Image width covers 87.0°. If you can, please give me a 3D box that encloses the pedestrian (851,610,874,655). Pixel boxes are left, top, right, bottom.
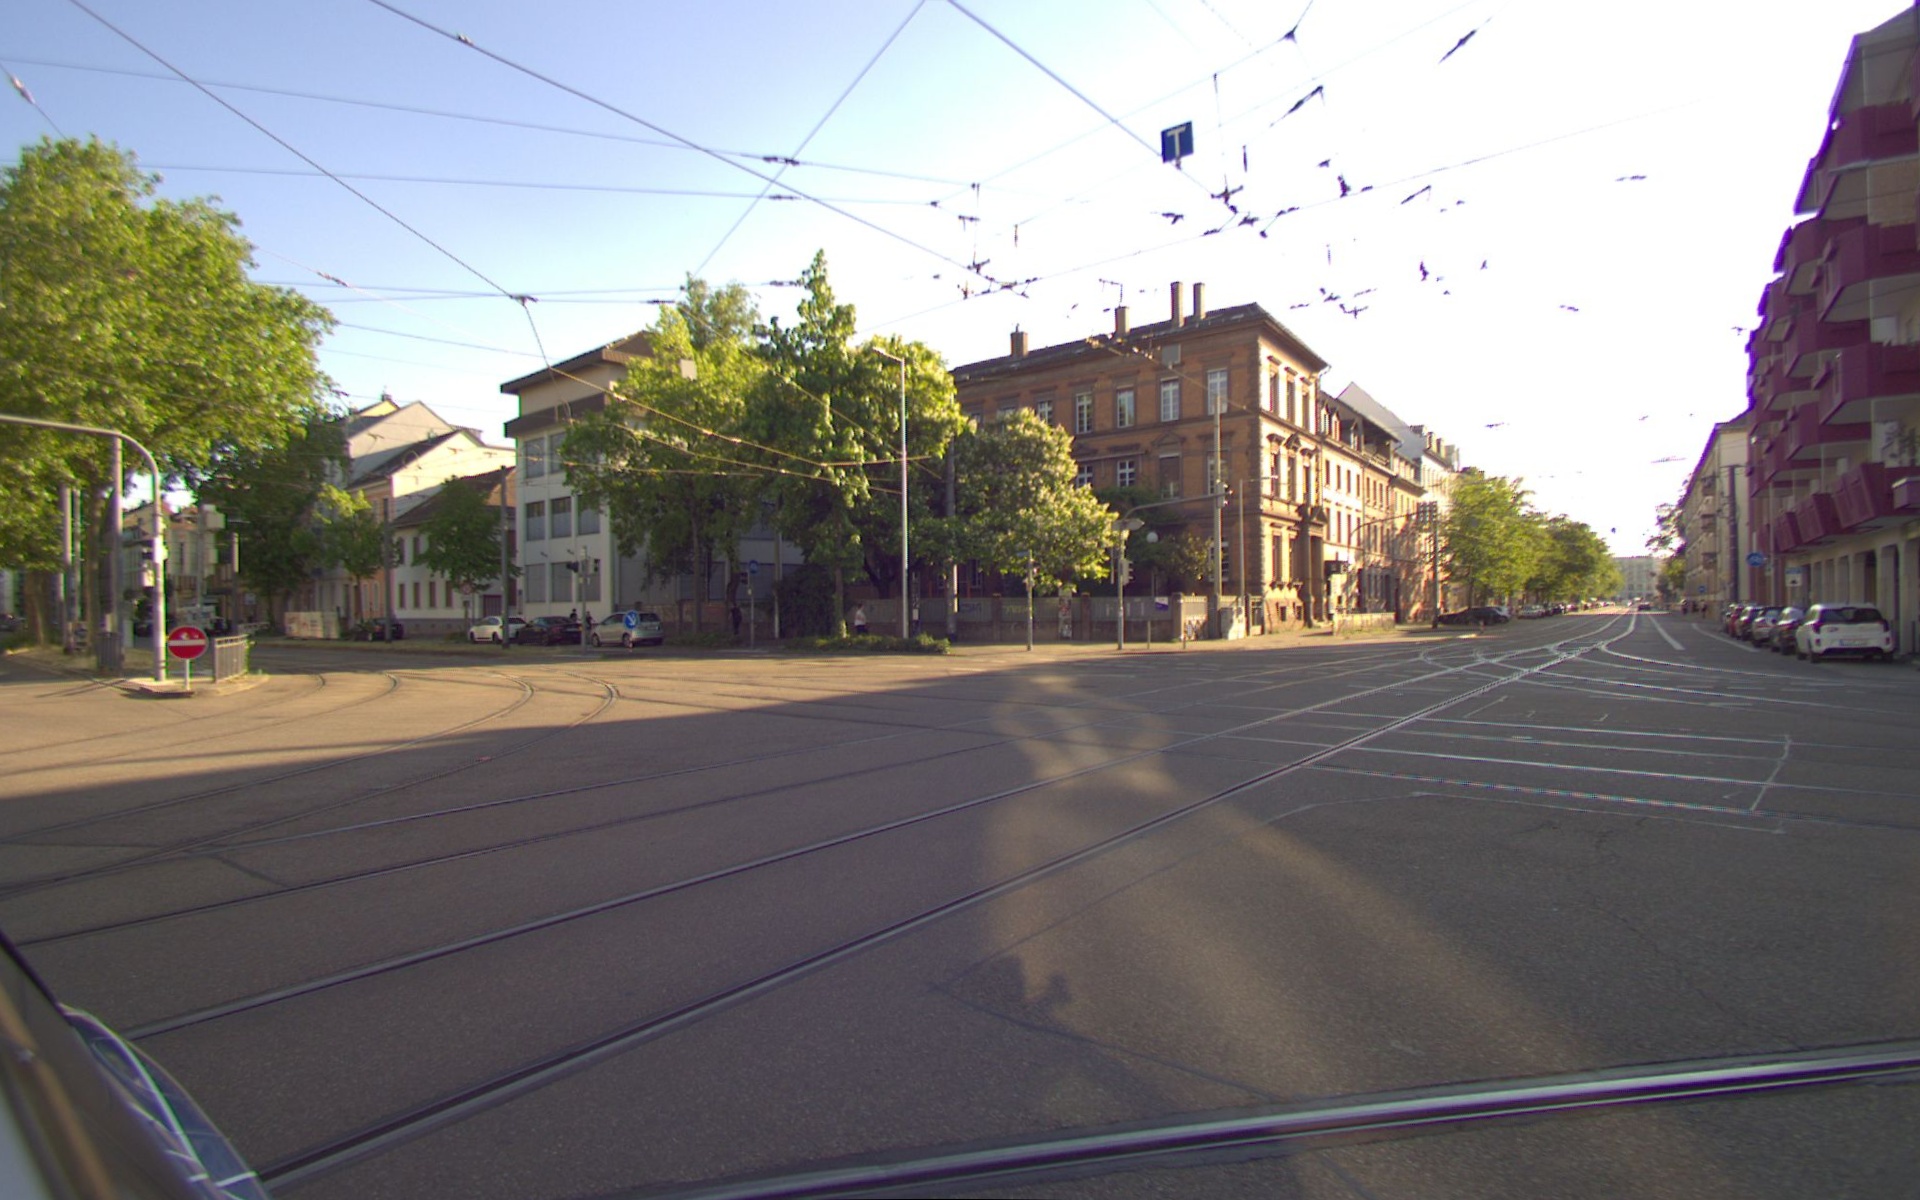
[{"bbox_3d":[-3.736,1.236,38.782,0.631,1.677,0.562,-1,1,40],"label":"pedestrian"}]

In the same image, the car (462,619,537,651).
[{"bbox_3d":[-24.388,1.840,53.565,3.993,1.501,2.061,-1,2,40],"label":"car"}]

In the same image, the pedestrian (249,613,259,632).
[{"bbox_3d":[-66.676,2.138,95.572,0.703,1.823,0.555,-1,-1,35],"label":"pedestrian"}]

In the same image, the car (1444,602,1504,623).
[{"bbox_3d":[39.805,0.986,78.406,3.989,1.586,1.977,-1,-1,34],"label":"car"}]

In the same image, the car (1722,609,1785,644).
[{"bbox_3d":[37.346,1.214,47.735,1.995,1.567,4.531,-1,-1,34],"label":"car"}]

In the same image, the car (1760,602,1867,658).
[{"bbox_3d":[25.635,0.849,30.538,1.995,1.567,4.075,-1,-1,34],"label":"car"}]

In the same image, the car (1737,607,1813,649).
[{"bbox_3d":[32.955,1.095,41.043,1.995,1.567,4.531,-1,-1,34],"label":"car"}]

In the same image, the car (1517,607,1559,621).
[{"bbox_3d":[59.077,1.465,103.394,3.544,1.412,1.678,-1,-1,37],"label":"car"}]

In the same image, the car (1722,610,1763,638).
[{"bbox_3d":[40.074,1.227,51.890,1.457,1.343,3.145,-1,-1,35],"label":"car"}]

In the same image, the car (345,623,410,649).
[{"bbox_3d":[-37.212,2.272,64.588,4.575,1.481,2.061,-1,2,40],"label":"car"}]

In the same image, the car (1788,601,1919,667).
[{"bbox_3d":[22.795,0.819,25.983,1.995,1.567,3.953,-1,-1,34],"label":"car"}]

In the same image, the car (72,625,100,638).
[{"bbox_3d":[-113.984,4.138,131.957,4.252,1.551,2.061,-1,2,40],"label":"car"}]

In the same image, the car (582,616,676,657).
[{"bbox_3d":[-14.869,1.599,45.395,4.094,1.631,2.061,-1,2,40],"label":"car"}]

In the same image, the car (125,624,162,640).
[{"bbox_3d":[-85.911,3.387,106.479,4.512,1.551,2.061,-1,2,40],"label":"car"}]

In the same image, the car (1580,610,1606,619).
[{"bbox_3d":[104.664,2.457,167.362,3.544,1.412,1.679,-1,1,37],"label":"car"}]

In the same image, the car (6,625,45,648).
[{"bbox_3d":[-76.345,2.952,82.687,3.999,1.785,1.972,-1,1,42],"label":"car"}]

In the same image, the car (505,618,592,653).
[{"bbox_3d":[-20.196,1.696,49.592,4.453,1.513,2.061,-1,2,40],"label":"car"}]

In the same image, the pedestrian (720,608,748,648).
[{"bbox_3d":[-10.240,1.260,45.843,1.019,1.765,0.726,-1,-1,40],"label":"pedestrian"}]

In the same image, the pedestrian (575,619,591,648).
[{"bbox_3d":[-20.176,1.784,54.144,0.711,1.540,0.530,-1,-1,41],"label":"pedestrian"}]

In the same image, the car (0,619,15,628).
[{"bbox_3d":[-179.938,4.430,190.731,4.123,1.551,2.061,-1,2,40],"label":"car"}]

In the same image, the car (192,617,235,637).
[{"bbox_3d":[-67.953,2.454,92.085,4.529,1.686,2.061,-1,2,40],"label":"car"}]

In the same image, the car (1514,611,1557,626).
[{"bbox_3d":[57.299,1.806,100.723,3.544,1.412,1.679,-1,1,37],"label":"car"}]

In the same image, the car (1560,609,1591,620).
[{"bbox_3d":[84.929,1.958,139.710,3.544,1.412,1.679,-1,1,37],"label":"car"}]

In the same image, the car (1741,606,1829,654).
[{"bbox_3d":[29.067,1.017,35.794,1.995,1.567,4.531,-1,-1,34],"label":"car"}]

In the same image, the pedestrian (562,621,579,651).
[{"bbox_3d":[-20.531,1.900,53.353,0.710,1.540,0.531,-1,-1,35],"label":"pedestrian"}]
